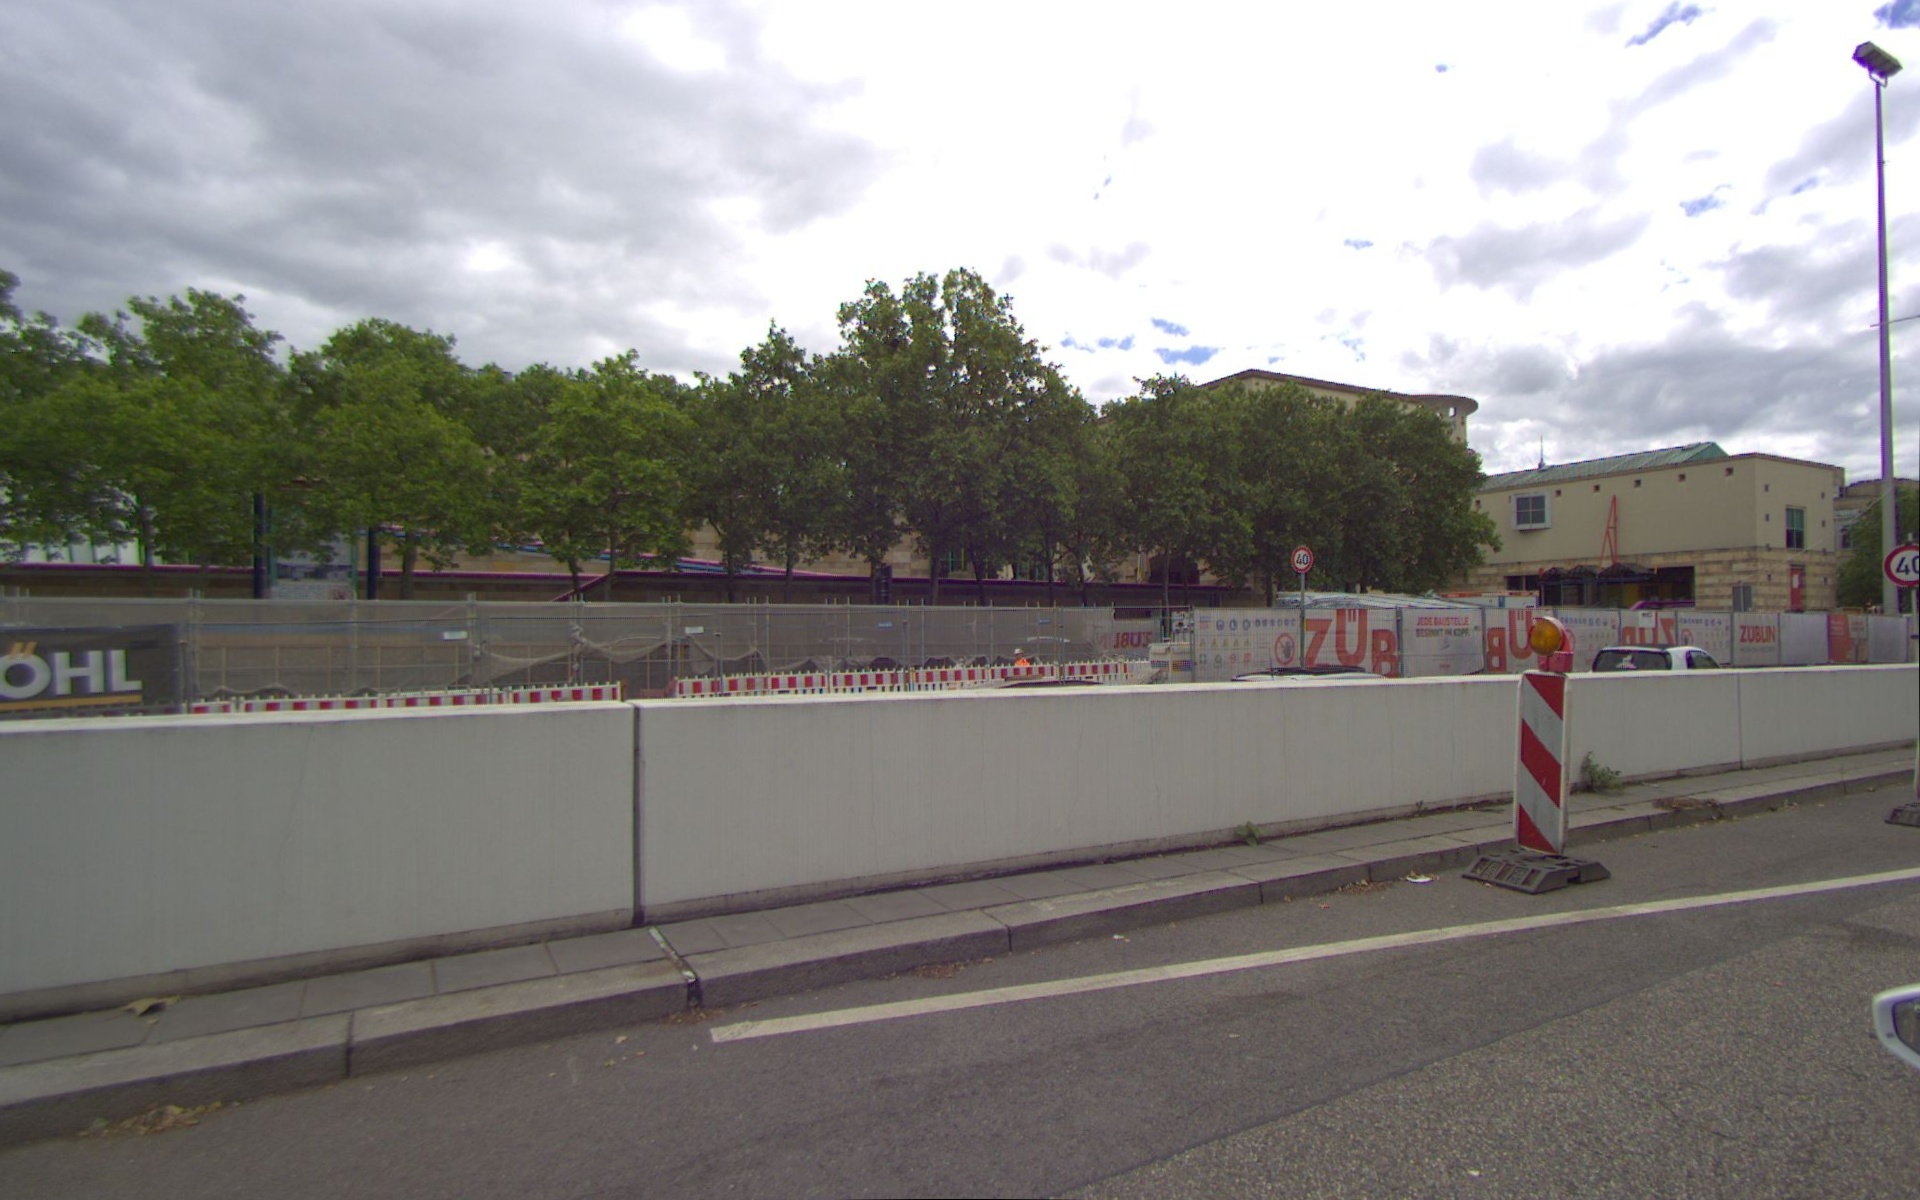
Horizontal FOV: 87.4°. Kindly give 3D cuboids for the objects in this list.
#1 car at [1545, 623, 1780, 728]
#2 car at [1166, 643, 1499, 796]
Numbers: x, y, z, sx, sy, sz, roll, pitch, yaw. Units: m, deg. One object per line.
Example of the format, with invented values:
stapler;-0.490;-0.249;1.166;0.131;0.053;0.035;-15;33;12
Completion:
car;12.546;1.276;17.914;3.954;1.663;1.984;1;-2;-31
car;4.807;1.388;12.905;3.954;1.663;1.984;1;-2;-31
